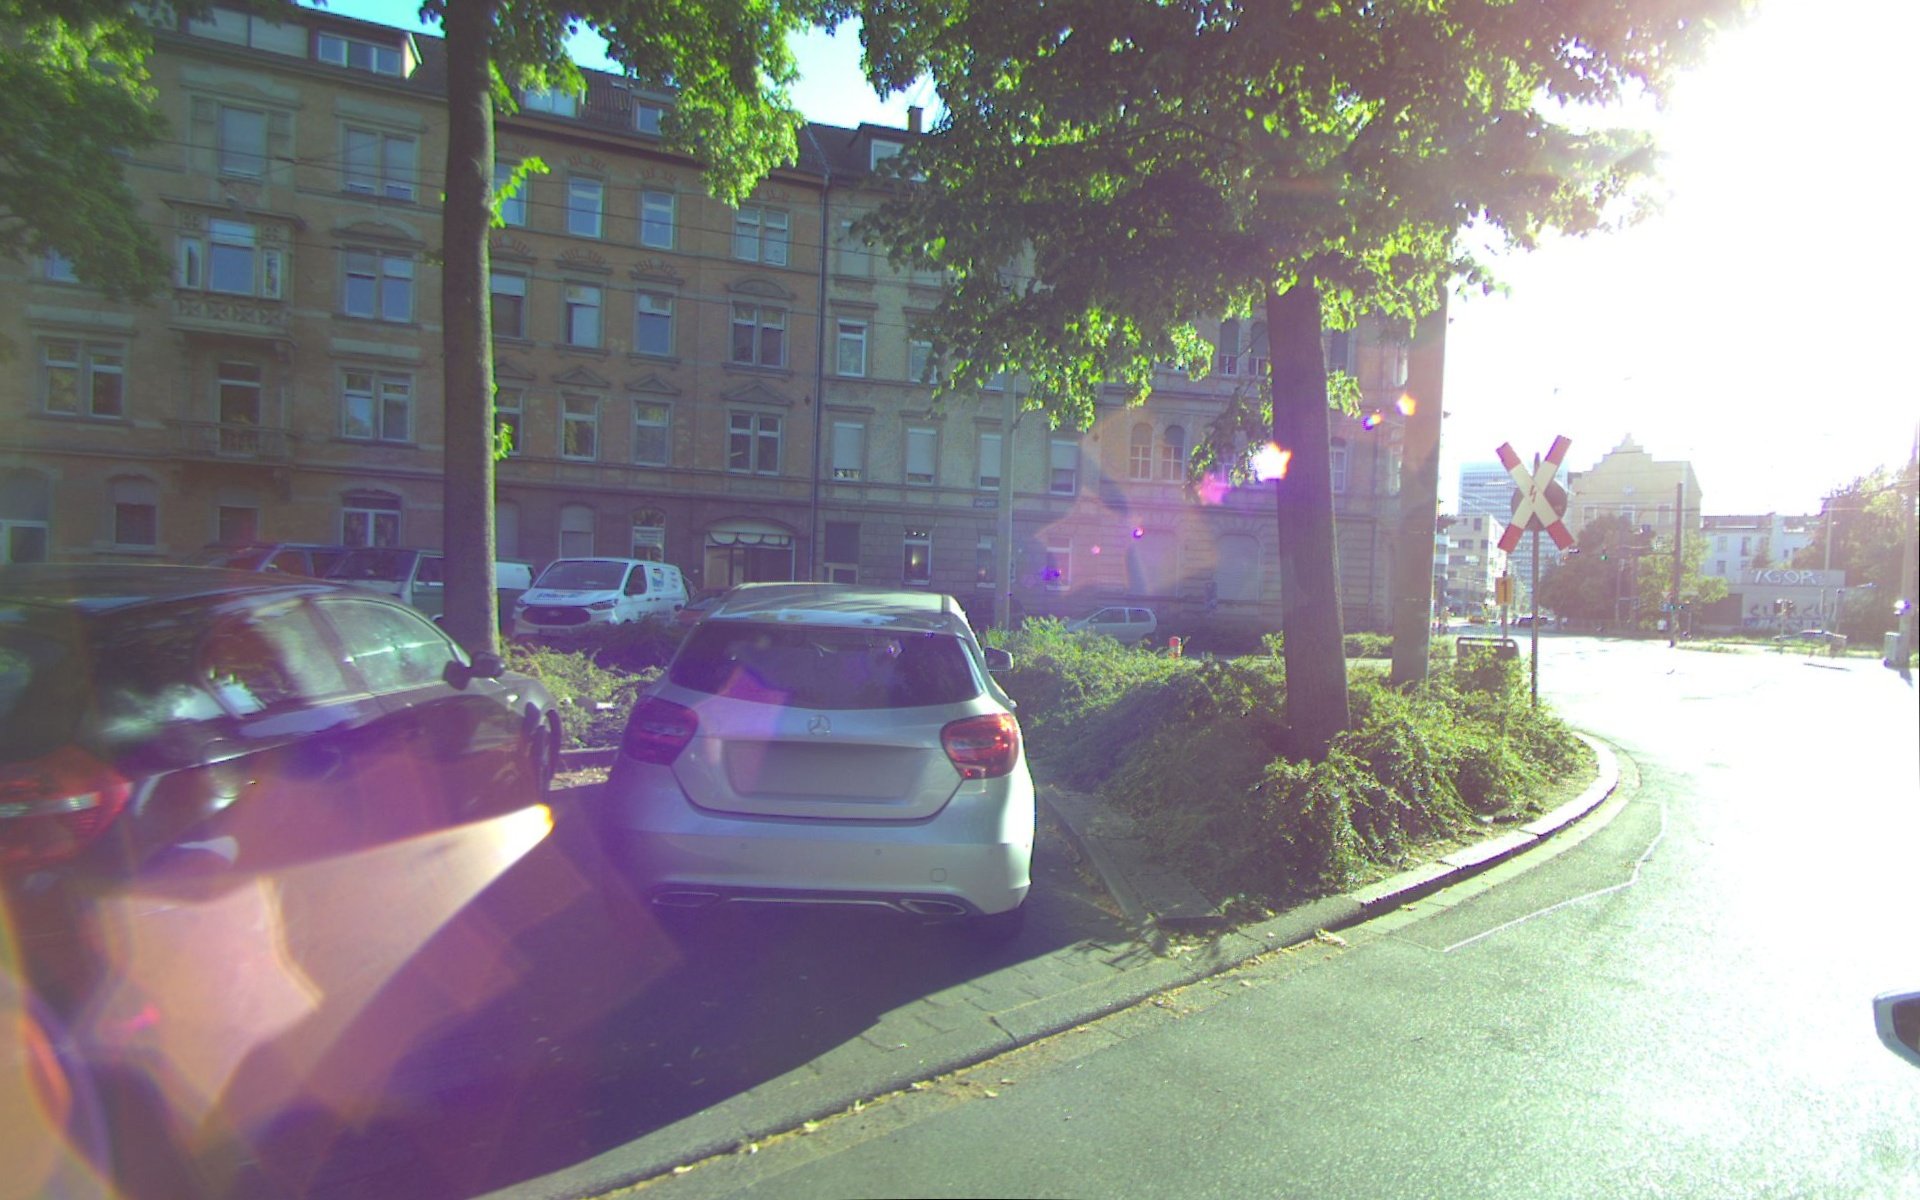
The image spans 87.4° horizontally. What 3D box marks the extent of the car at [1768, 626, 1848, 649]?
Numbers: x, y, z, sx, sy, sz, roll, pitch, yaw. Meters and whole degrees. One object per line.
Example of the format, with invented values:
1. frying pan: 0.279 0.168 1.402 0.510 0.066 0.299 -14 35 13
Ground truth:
1. car: 64.933 2.850 76.960 1.765 1.507 4.439 2 0 -39

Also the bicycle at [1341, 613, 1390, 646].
1. bicycle: 16.043 1.157 39.729 1.760 1.222 0.502 2 3 -12

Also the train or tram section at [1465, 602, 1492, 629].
1. train or tram section: 76.087 2.310 147.216 2.210 3.622 14.241 2 0 32

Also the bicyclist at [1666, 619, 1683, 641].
1. bicyclist: 46.698 1.959 65.672 0.792 1.432 0.623 2 0 28

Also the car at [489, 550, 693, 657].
1. car: -7.076 0.068 19.977 2.044 1.788 5.060 2 0 1

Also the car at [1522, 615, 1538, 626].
1. car: 83.393 2.961 146.911 1.965 1.506 3.992 2 0 31

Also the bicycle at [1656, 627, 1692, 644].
1. bicycle: 46.690 2.318 65.688 1.805 0.998 0.733 2 0 28

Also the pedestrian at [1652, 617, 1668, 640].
1. pedestrian: 54.580 2.220 78.321 0.913 1.714 0.776 2 0 31

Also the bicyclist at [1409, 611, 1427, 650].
1. bicyclist: 18.128 1.201 39.741 0.583 1.511 0.701 2 0 28

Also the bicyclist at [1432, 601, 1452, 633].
1. bicyclist: 29.780 1.042 62.092 1.012 1.916 1.112 2 0 22

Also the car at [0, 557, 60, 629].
1. car: -23.101 -0.206 22.459 4.001 1.539 1.846 1 3 -23

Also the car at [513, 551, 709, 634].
1. car: -9.585 -0.209 27.716 4.928 2.091 1.847 1 3 -23

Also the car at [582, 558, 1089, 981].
1. car: -0.553 0.562 5.734 1.740 1.449 4.291 3 2 -3

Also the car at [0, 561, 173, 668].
1. car: -15.506 0.205 16.700 1.627 1.662 3.653 2 0 9

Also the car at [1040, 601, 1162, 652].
1. car: 4.549 0.848 32.652 3.436 1.448 1.851 1 3 -15

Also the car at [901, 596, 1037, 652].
1. car: 0.266 0.746 31.461 3.816 1.584 1.846 1 3 -23

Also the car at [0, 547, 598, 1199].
1. car: -2.939 0.545 4.083 1.741 1.424 4.036 3 2 -5

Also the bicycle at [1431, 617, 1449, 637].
1. bicycle: 29.677 1.637 62.113 0.868 1.171 2.323 2 0 22

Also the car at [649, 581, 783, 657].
1. car: -4.878 0.358 20.559 1.682 1.347 3.634 2 0 2

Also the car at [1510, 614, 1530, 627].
1. car: 69.999 2.534 125.530 1.965 1.483 3.992 2 0 31

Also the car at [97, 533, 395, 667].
1. car: -12.372 0.007 17.773 1.959 2.040 4.002 2 0 11

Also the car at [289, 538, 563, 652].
1. car: -9.624 -0.078 18.679 2.043 1.788 4.839 2 0 7

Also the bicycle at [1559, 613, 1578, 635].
1. bicycle: 53.582 2.092 88.401 1.337 1.830 0.565 2 0 39

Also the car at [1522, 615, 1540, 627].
1. car: 76.031 2.843 133.811 1.965 1.506 3.992 2 0 31
